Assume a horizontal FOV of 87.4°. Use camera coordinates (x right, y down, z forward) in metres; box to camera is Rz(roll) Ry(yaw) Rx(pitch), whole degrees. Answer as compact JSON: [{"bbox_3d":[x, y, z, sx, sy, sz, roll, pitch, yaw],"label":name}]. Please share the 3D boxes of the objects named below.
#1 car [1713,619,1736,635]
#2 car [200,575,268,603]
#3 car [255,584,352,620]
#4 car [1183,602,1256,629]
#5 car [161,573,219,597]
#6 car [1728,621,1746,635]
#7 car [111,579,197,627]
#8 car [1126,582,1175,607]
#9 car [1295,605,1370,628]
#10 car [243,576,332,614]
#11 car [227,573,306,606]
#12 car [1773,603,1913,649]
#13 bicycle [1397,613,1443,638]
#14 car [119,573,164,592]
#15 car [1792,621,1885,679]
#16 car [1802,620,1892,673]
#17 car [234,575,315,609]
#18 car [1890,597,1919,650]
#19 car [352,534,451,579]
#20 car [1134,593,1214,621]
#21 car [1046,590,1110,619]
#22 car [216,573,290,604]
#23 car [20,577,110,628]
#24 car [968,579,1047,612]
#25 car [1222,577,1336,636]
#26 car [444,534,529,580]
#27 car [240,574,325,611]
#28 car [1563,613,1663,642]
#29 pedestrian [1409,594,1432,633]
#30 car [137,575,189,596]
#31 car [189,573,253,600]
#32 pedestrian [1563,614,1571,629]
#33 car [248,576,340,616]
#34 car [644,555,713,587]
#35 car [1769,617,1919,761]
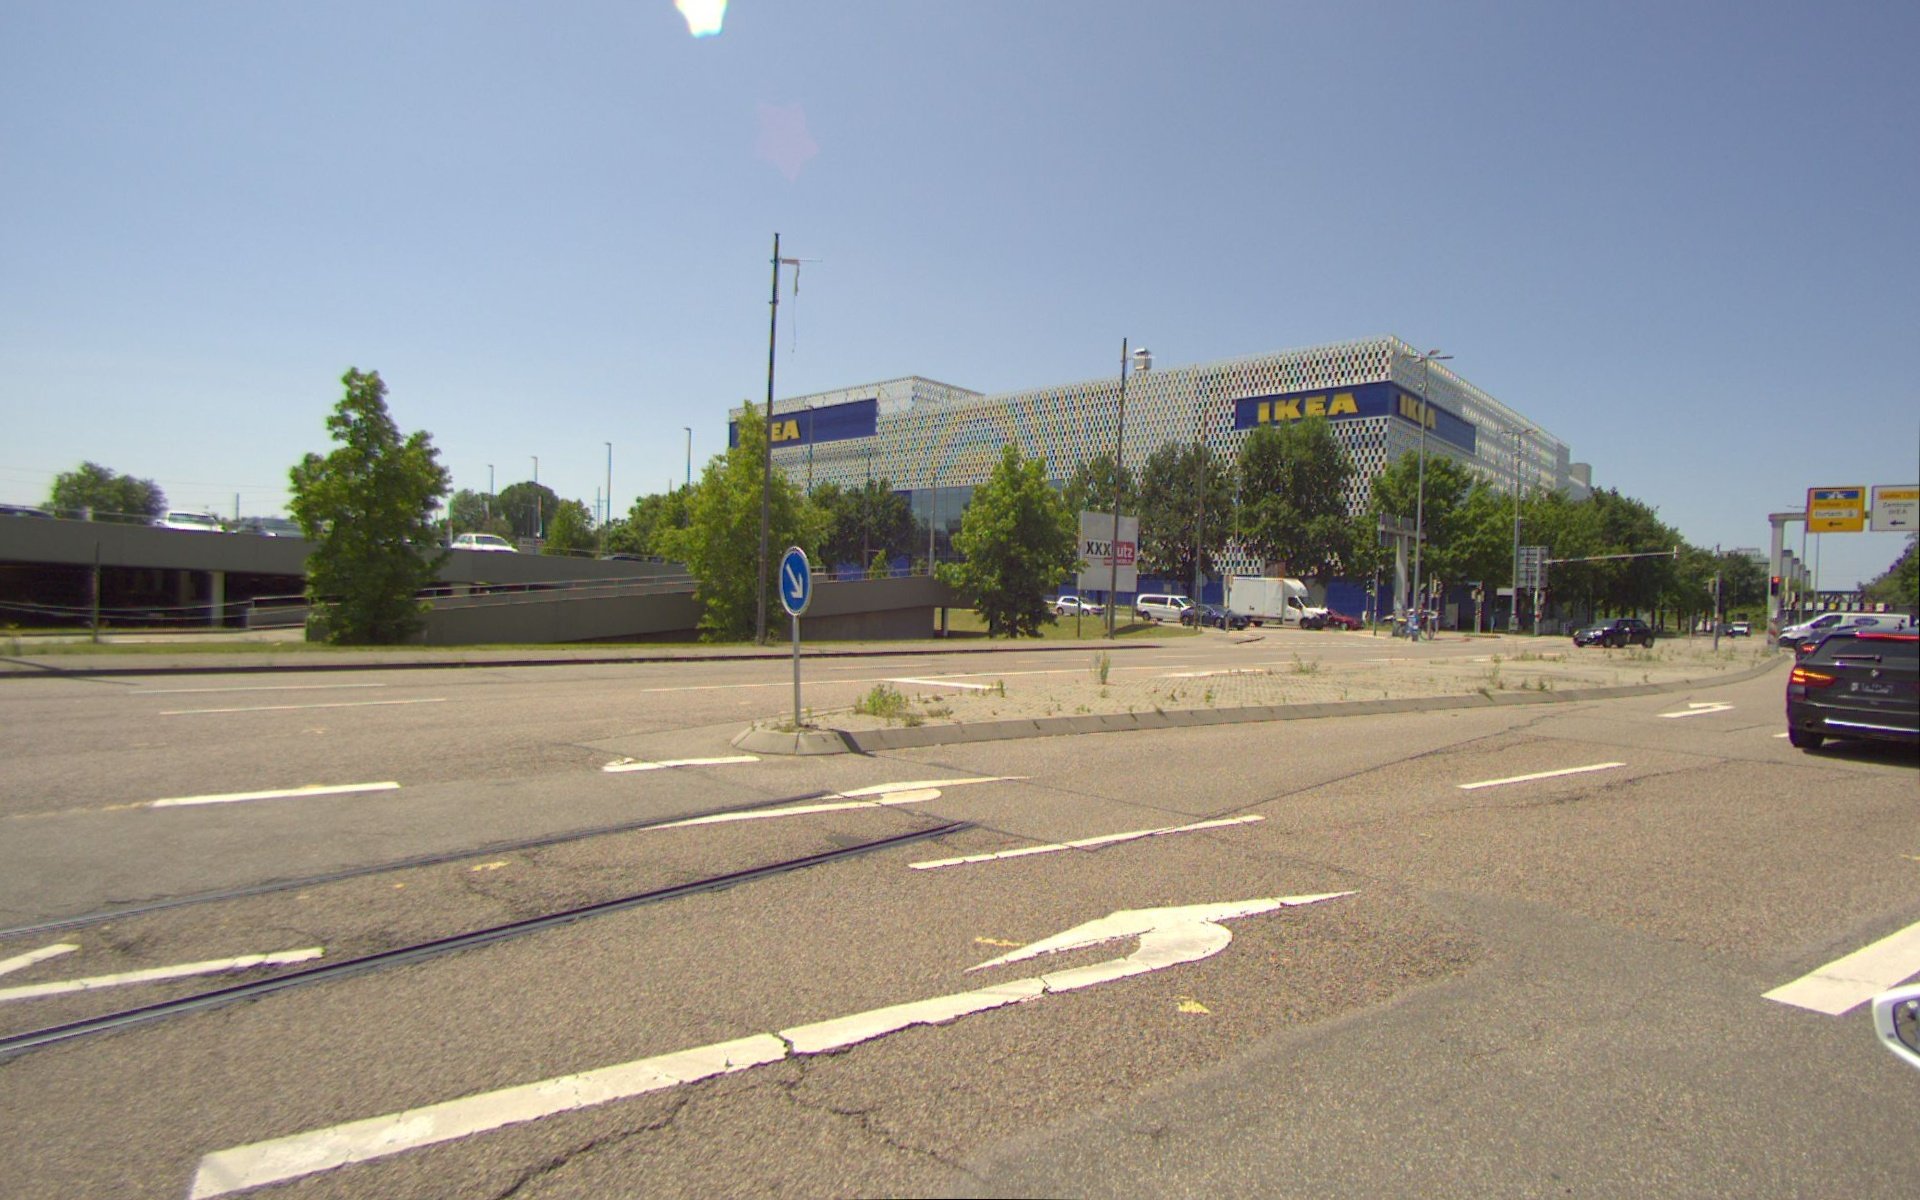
[{"bbox_3d":[94.282,3.353,123.896,1.970,1.770,3.981,4,1,40],"label":"car"},{"bbox_3d":[-55.257,-0.818,76.482,3.972,2.040,1.974,2,0,-43],"label":"car"},{"bbox_3d":[-34.362,0.093,52.633,3.973,1.751,1.974,2,0,-44],"label":"car"},{"bbox_3d":[15.783,0.942,61.188,1.916,1.528,3.956,1,0,-38],"label":"car"},{"bbox_3d":[-70.142,-1.356,91.558,3.974,2.040,1.974,2,0,-44],"label":"car"},{"bbox_3d":[109.203,3.924,141.142,1.780,1.878,3.980,4,1,41],"label":"car"},{"bbox_3d":[-29.957,0.101,37.305,3.944,1.660,1.988,1,0,44],"label":"car"},{"bbox_3d":[17.544,-0.493,92.432,3.943,2.041,1.989,4,2,43],"label":"car"},{"bbox_3d":[24.346,1.063,65.755,4.237,1.361,1.765,2,1,44],"label":"car"},{"bbox_3d":[-38.949,-0.294,58.219,3.972,2.040,1.974,2,0,-43],"label":"car"},{"bbox_3d":[-45.693,-0.667,66.215,3.974,2.040,1.974,2,0,-45],"label":"car"},{"bbox_3d":[42.018,1.218,47.980,4.762,1.875,1.830,3,1,36],"label":"car"},{"bbox_3d":[24.462,1.338,53.393,2.066,1.229,0.993,1,0,37],"label":"bicycle"},{"bbox_3d":[-95.576,-2.001,117.357,3.963,2.040,1.979,2,0,-37],"label":"car"},{"bbox_3d":[24.364,1.318,27.802,1.729,1.409,4.506,2,0,44],"label":"car"},{"bbox_3d":[28.964,1.463,32.892,1.774,1.514,3.985,3,1,36],"label":"car"},{"bbox_3d":[-43.555,-0.486,63.845,3.972,2.040,1.974,2,0,-43],"label":"car"},{"bbox_3d":[49.055,1.252,48.735,1.981,2.601,5.451,2,1,-36],"label":"car"},{"bbox_3d":[-28.394,-2.167,51.154,1.972,2.040,3.977,2,0,43],"label":"car"},{"bbox_3d":[15.148,0.471,71.441,1.986,1.835,5.401,1,0,-43],"label":"car"},{"bbox_3d":[9.091,0.335,77.815,4.650,2.040,1.987,2,0,45],"label":"car"},{"bbox_3d":[-50.055,-0.805,71.156,3.974,2.040,1.974,2,0,-45],"label":"car"},{"bbox_3d":[-31.075,0.068,34.846,3.944,1.635,1.988,1,0,44],"label":"car"},{"bbox_3d":[3.915,-0.437,83.476,2.558,2.568,6.543,2,0,-44],"label":"car"},{"bbox_3d":[20.675,0.335,65.429,6.829,3.533,2.170,2,2,44],"label":"car"},{"bbox_3d":[-20.356,-1.804,43.115,1.987,1.791,4.145,2,0,-45],"label":"car"},{"bbox_3d":[-40.954,-0.445,60.744,3.972,2.040,1.975,2,0,-43],"label":"car"},{"bbox_3d":[31.562,1.321,48.616,3.823,1.320,1.858,1,0,-10],"label":"car"},{"bbox_3d":[24.486,0.735,53.389,0.893,2.040,0.861,2,1,37],"label":"pedestrian"},{"bbox_3d":[-80.944,-1.464,102.006,3.971,2.040,1.975,2,0,-42],"label":"car"},{"bbox_3d":[-60.071,-1.056,81.663,3.974,2.040,1.974,2,0,-45],"label":"car"},{"bbox_3d":[58.158,2.061,96.218,0.480,1.502,0.457,2,0,-44],"label":"pedestrian"},{"bbox_3d":[-36.679,-0.203,55.340,3.971,2.040,1.975,2,0,-42],"label":"car"},{"bbox_3d":[-18.453,-1.899,65.955,1.970,1.934,3.981,2,0,40],"label":"car"},{"bbox_3d":[11.670,0.971,12.208,4.579,1.485,1.787,1,0,-37],"label":"car"}]
